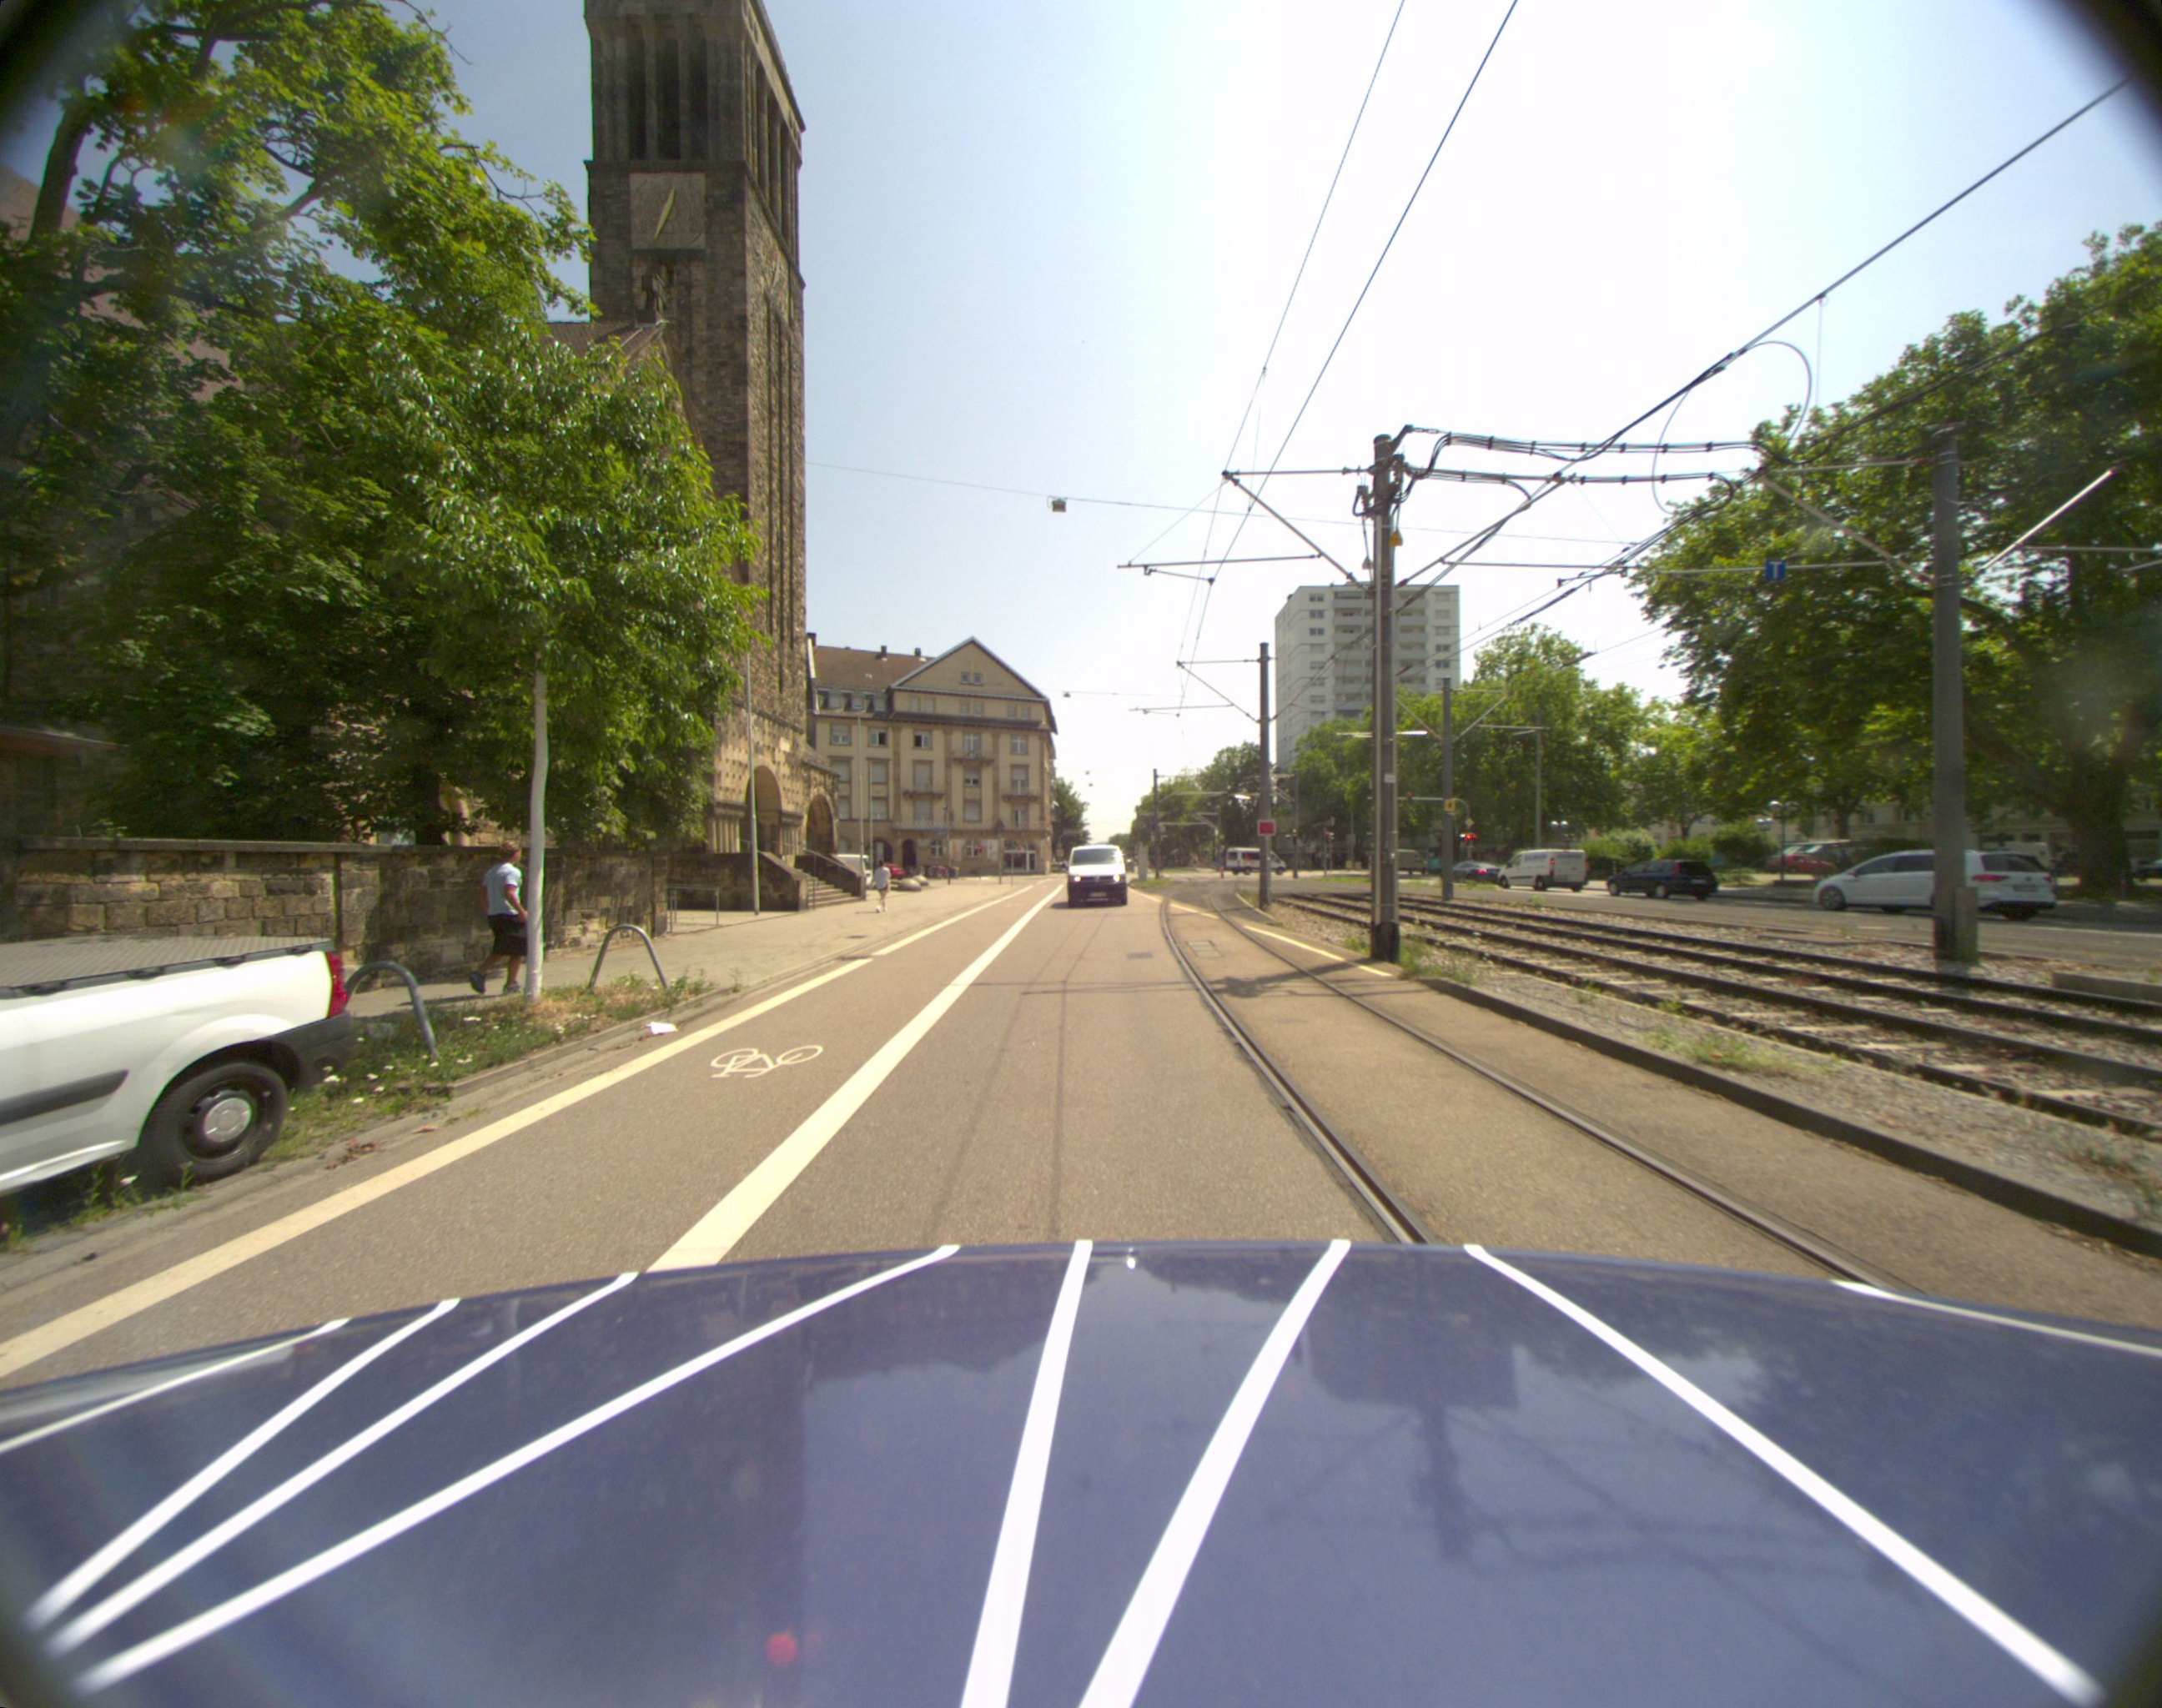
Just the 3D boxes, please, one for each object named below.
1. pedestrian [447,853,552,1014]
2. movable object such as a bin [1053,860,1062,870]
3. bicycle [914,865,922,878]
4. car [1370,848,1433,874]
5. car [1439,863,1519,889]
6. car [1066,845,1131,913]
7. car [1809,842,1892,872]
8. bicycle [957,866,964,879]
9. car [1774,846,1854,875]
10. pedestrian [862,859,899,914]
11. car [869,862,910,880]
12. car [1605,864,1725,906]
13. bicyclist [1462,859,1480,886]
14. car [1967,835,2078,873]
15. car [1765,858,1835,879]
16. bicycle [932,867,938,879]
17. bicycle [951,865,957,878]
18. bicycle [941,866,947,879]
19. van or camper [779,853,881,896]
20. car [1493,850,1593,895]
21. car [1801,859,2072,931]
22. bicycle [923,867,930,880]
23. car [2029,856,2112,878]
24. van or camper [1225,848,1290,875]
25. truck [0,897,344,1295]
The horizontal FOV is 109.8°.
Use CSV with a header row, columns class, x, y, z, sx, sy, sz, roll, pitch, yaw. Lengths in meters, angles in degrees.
class,x,y,z,sx,sy,sz,roll,pitch,yaw
pedestrian,-6.557,0.872,8.598,0.622,1.744,0.678,-1,0,2
movable object such as a bin,-3.287,1.505,104.968,1.214,1.427,1.008,-1,0,-4
bicycle,-15.034,1.575,70.071,0.566,1.145,1.802,-1,1,-19
car,33.741,0.730,79.897,6.641,2.621,2.073,0,0,-23
car,22.014,1.171,42.255,1.952,1.351,4.629,0,-1,-1
car,0.619,0.733,24.427,1.852,1.942,4.944,0,0,3
car,55.535,0.189,54.947,1.998,2.070,4.000,-1,0,0
bicycle,-11.361,1.704,71.577,0.565,1.145,2.058,-1,1,-10
car,52.905,0.459,54.944,1.998,2.070,4.000,0,0,0
pedestrian,-6.124,0.975,23.237,0.795,1.640,0.967,-1,0,2
car,-17.255,1.529,68.519,3.218,1.471,1.619,1,3,27
car,21.793,1.115,28.568,1.600,1.411,3.782,1,0,0
bicyclist,24.736,1.170,48.173,0.640,1.676,0.869,-1,0,-3
car,70.647,0.000,57.062,5.706,2.644,2.108,-1,0,0
car,48.735,0.960,51.551,3.342,1.375,1.472,-1,0,0
bicycle,-13.829,1.796,72.084,0.565,1.145,1.803,-1,1,-10
bicycle,-12.224,1.701,73.009,0.565,1.145,1.803,-1,1,-10
bicycle,-13.083,1.778,72.713,0.565,1.145,1.803,-1,1,-10
van or camper,-11.301,0.909,34.400,3.997,1.814,1.803,1,0,-1
car,21.855,0.851,36.177,1.781,1.979,4.805,0,0,-1
car,21.629,0.943,19.586,1.851,1.616,4.603,1,0,1
bicycle,-14.487,1.804,71.211,0.565,1.145,1.803,-1,1,-10
car,68.891,0.899,52.922,3.705,1.401,1.622,-1,0,0
van or camper,16.659,0.711,71.622,5.909,2.446,2.070,0,-1,-23
truck,-5.202,1.009,2.230,1.794,1.517,4.464,0,0,-2
